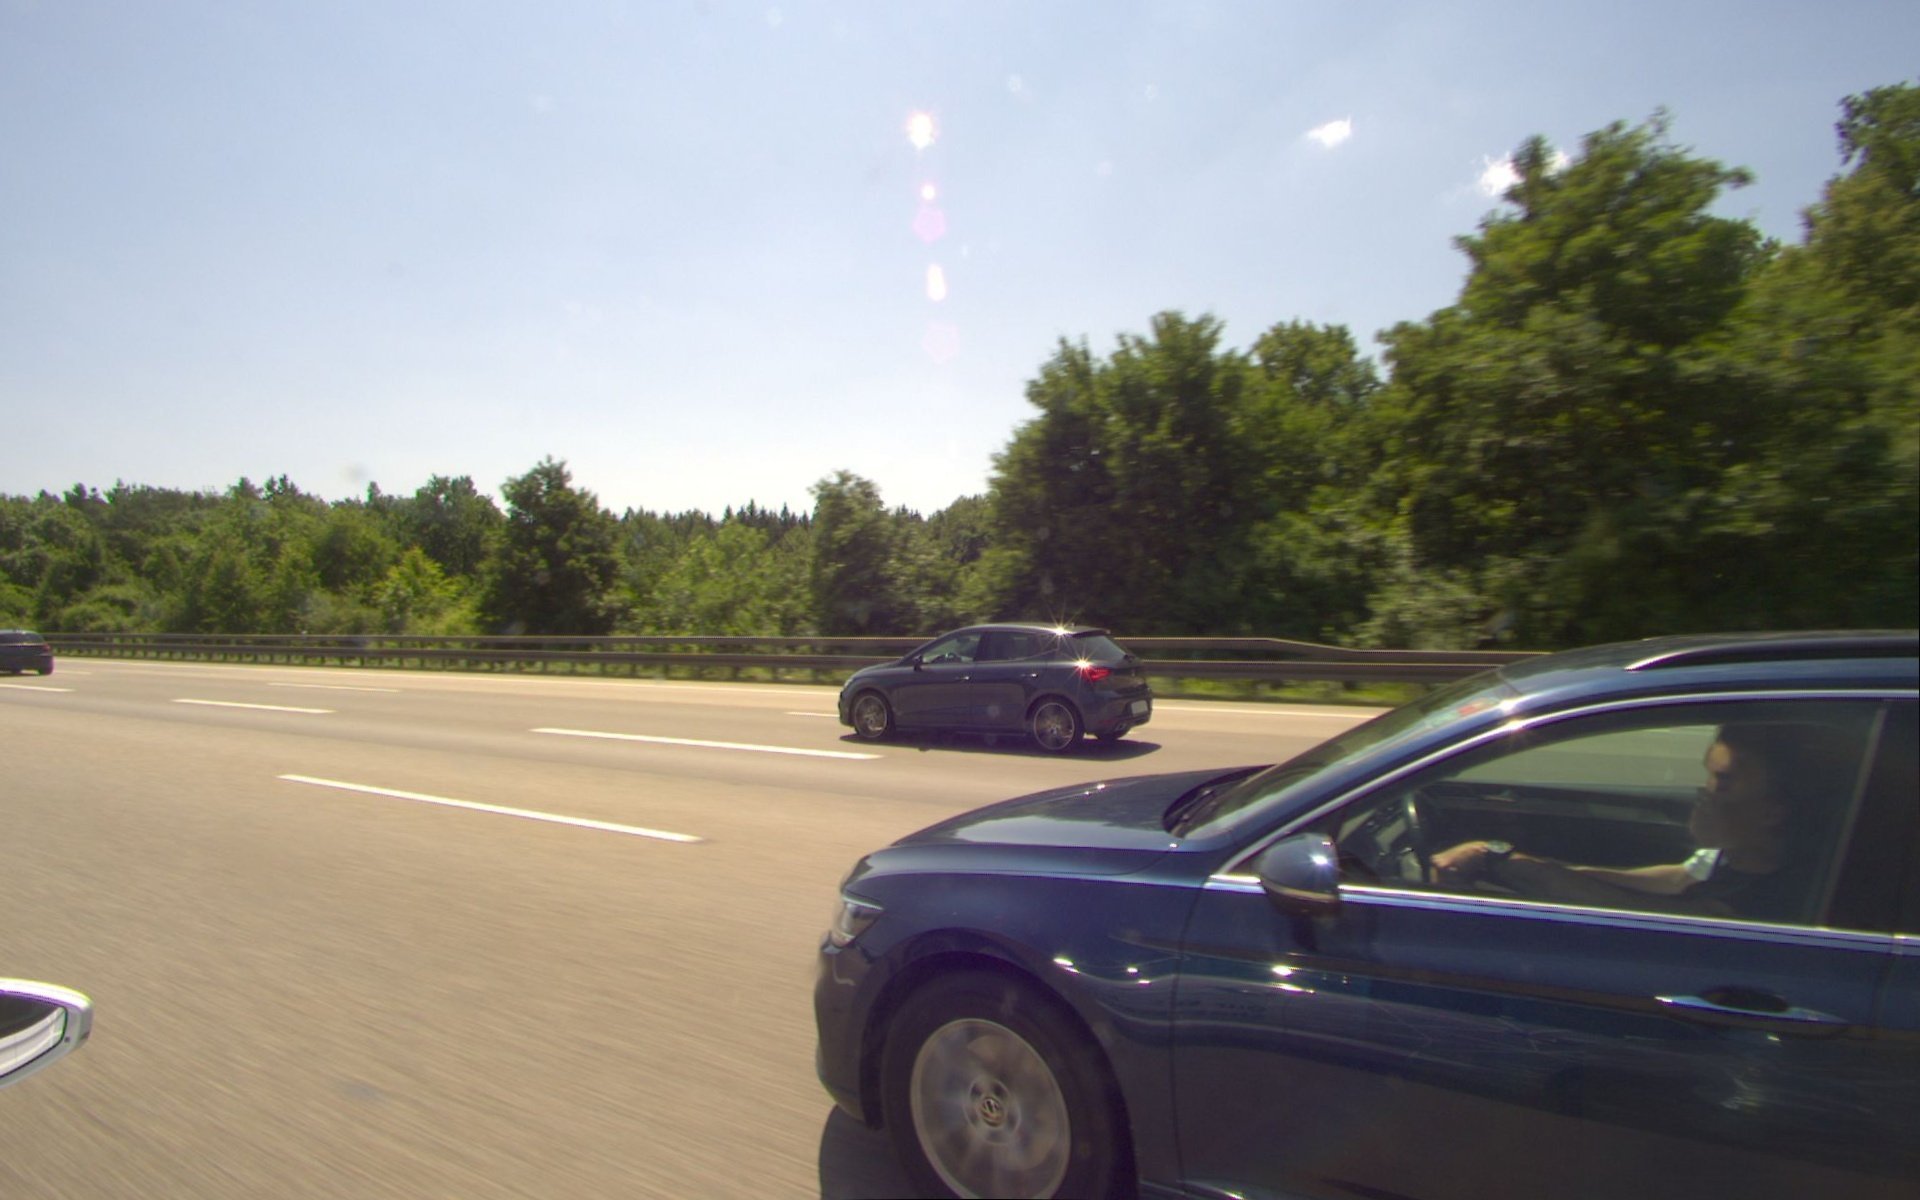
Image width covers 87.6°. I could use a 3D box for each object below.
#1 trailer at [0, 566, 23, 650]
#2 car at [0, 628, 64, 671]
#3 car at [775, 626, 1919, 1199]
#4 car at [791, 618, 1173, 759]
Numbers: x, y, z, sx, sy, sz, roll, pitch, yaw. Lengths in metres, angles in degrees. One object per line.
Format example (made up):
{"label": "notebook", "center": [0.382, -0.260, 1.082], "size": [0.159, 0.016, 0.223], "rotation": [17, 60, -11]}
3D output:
{"label": "trailer", "center": [-51.697, 0.383, 50.324], "size": [13.688, 3.982, 3.282], "rotation": [0, -1, 32]}
{"label": "car", "center": [-30.127, 1.531, 31.630], "size": [4.229, 1.290, 1.667], "rotation": [-1, -1, 32]}
{"label": "car", "center": [2.025, 0.803, 2.044], "size": [4.891, 1.466, 1.726], "rotation": [-1, 0, 33]}
{"label": "car", "center": [0.176, 0.975, 12.464], "size": [4.568, 1.457, 1.640], "rotation": [0, -1, 32]}
